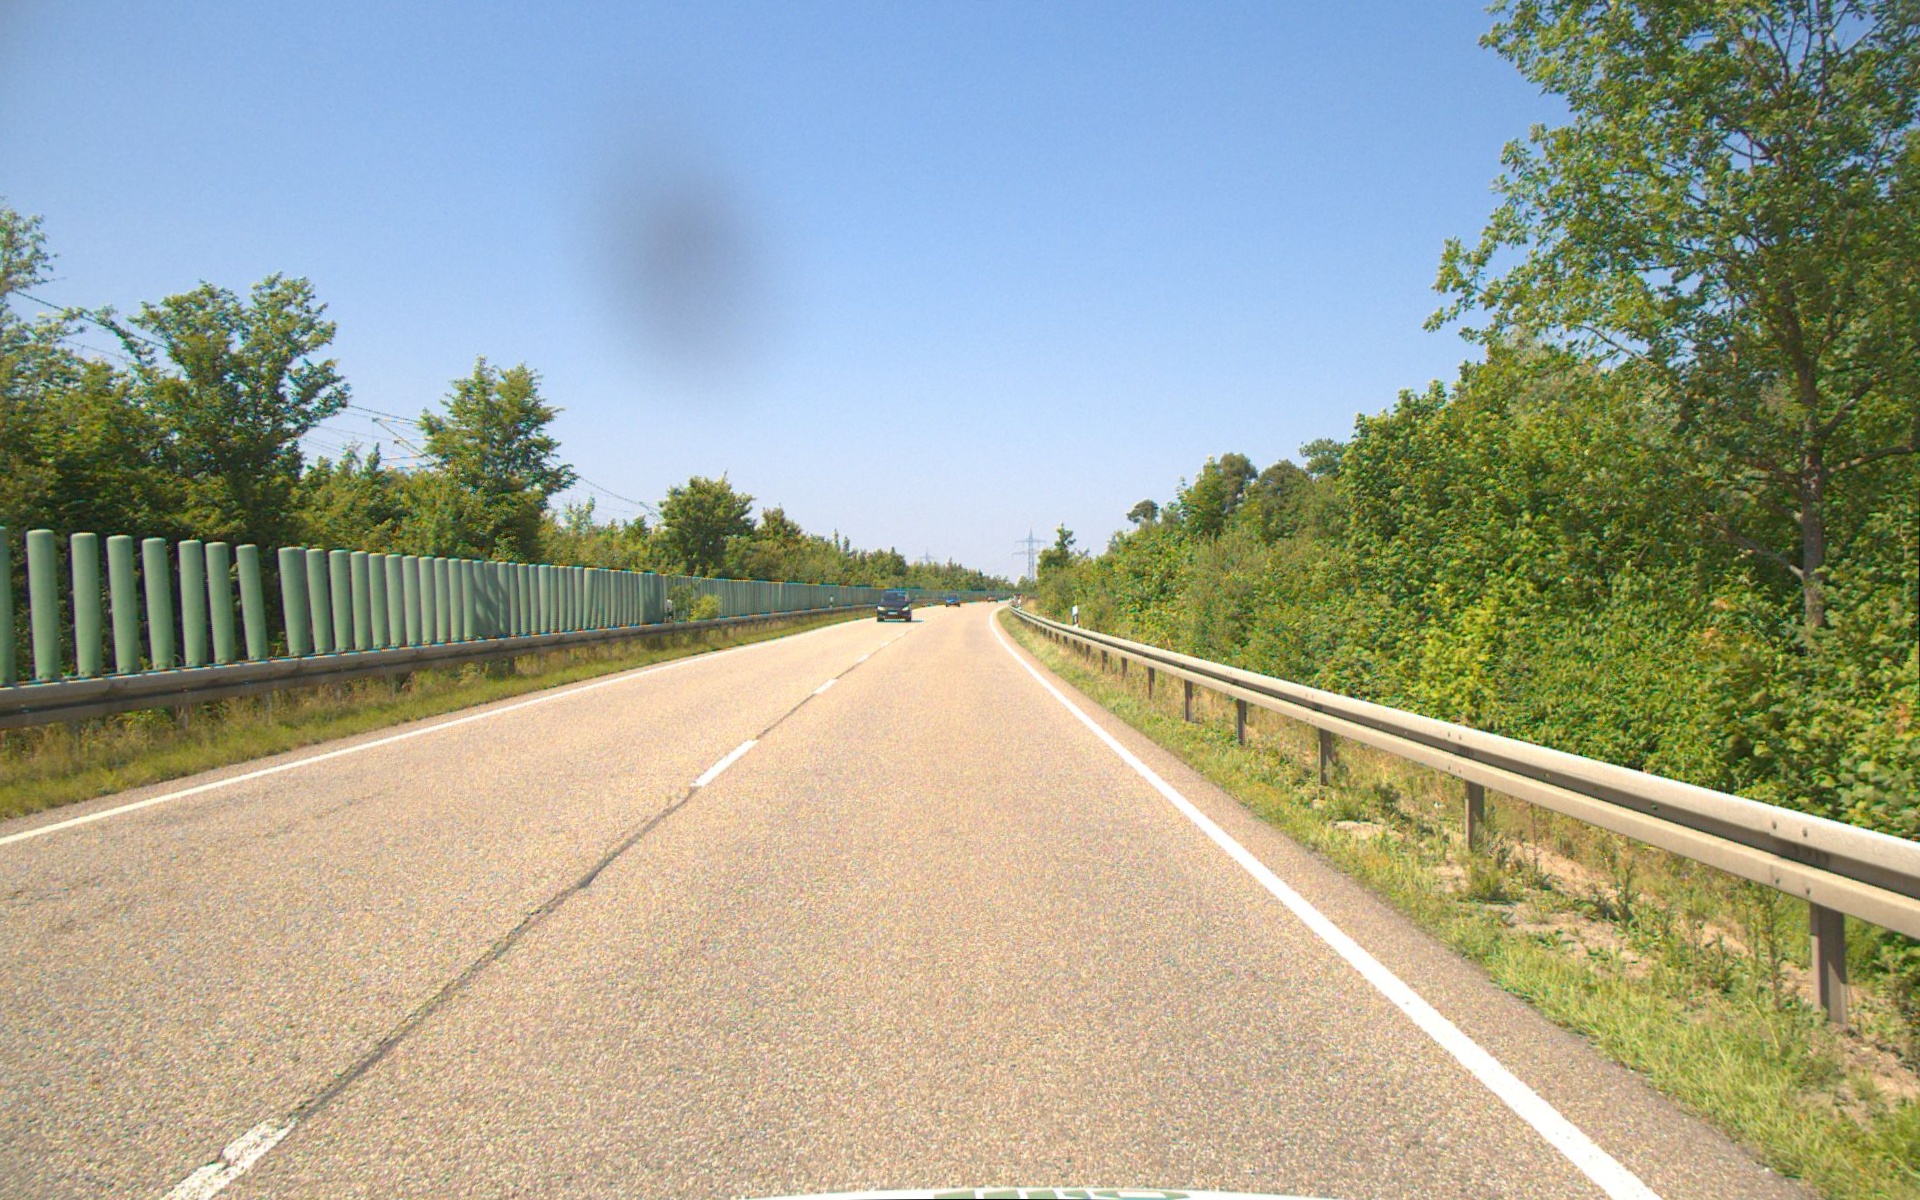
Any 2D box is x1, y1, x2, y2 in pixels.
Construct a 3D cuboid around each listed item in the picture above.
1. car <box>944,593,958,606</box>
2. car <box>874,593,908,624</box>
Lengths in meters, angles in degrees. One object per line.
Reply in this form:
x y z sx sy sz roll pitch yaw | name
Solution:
-1.009 -0.034 195.487 1.614 1.505 3.676 0 0 0 | car
-3.720 0.463 90.125 1.728 1.669 4.125 1 0 -1 | car
